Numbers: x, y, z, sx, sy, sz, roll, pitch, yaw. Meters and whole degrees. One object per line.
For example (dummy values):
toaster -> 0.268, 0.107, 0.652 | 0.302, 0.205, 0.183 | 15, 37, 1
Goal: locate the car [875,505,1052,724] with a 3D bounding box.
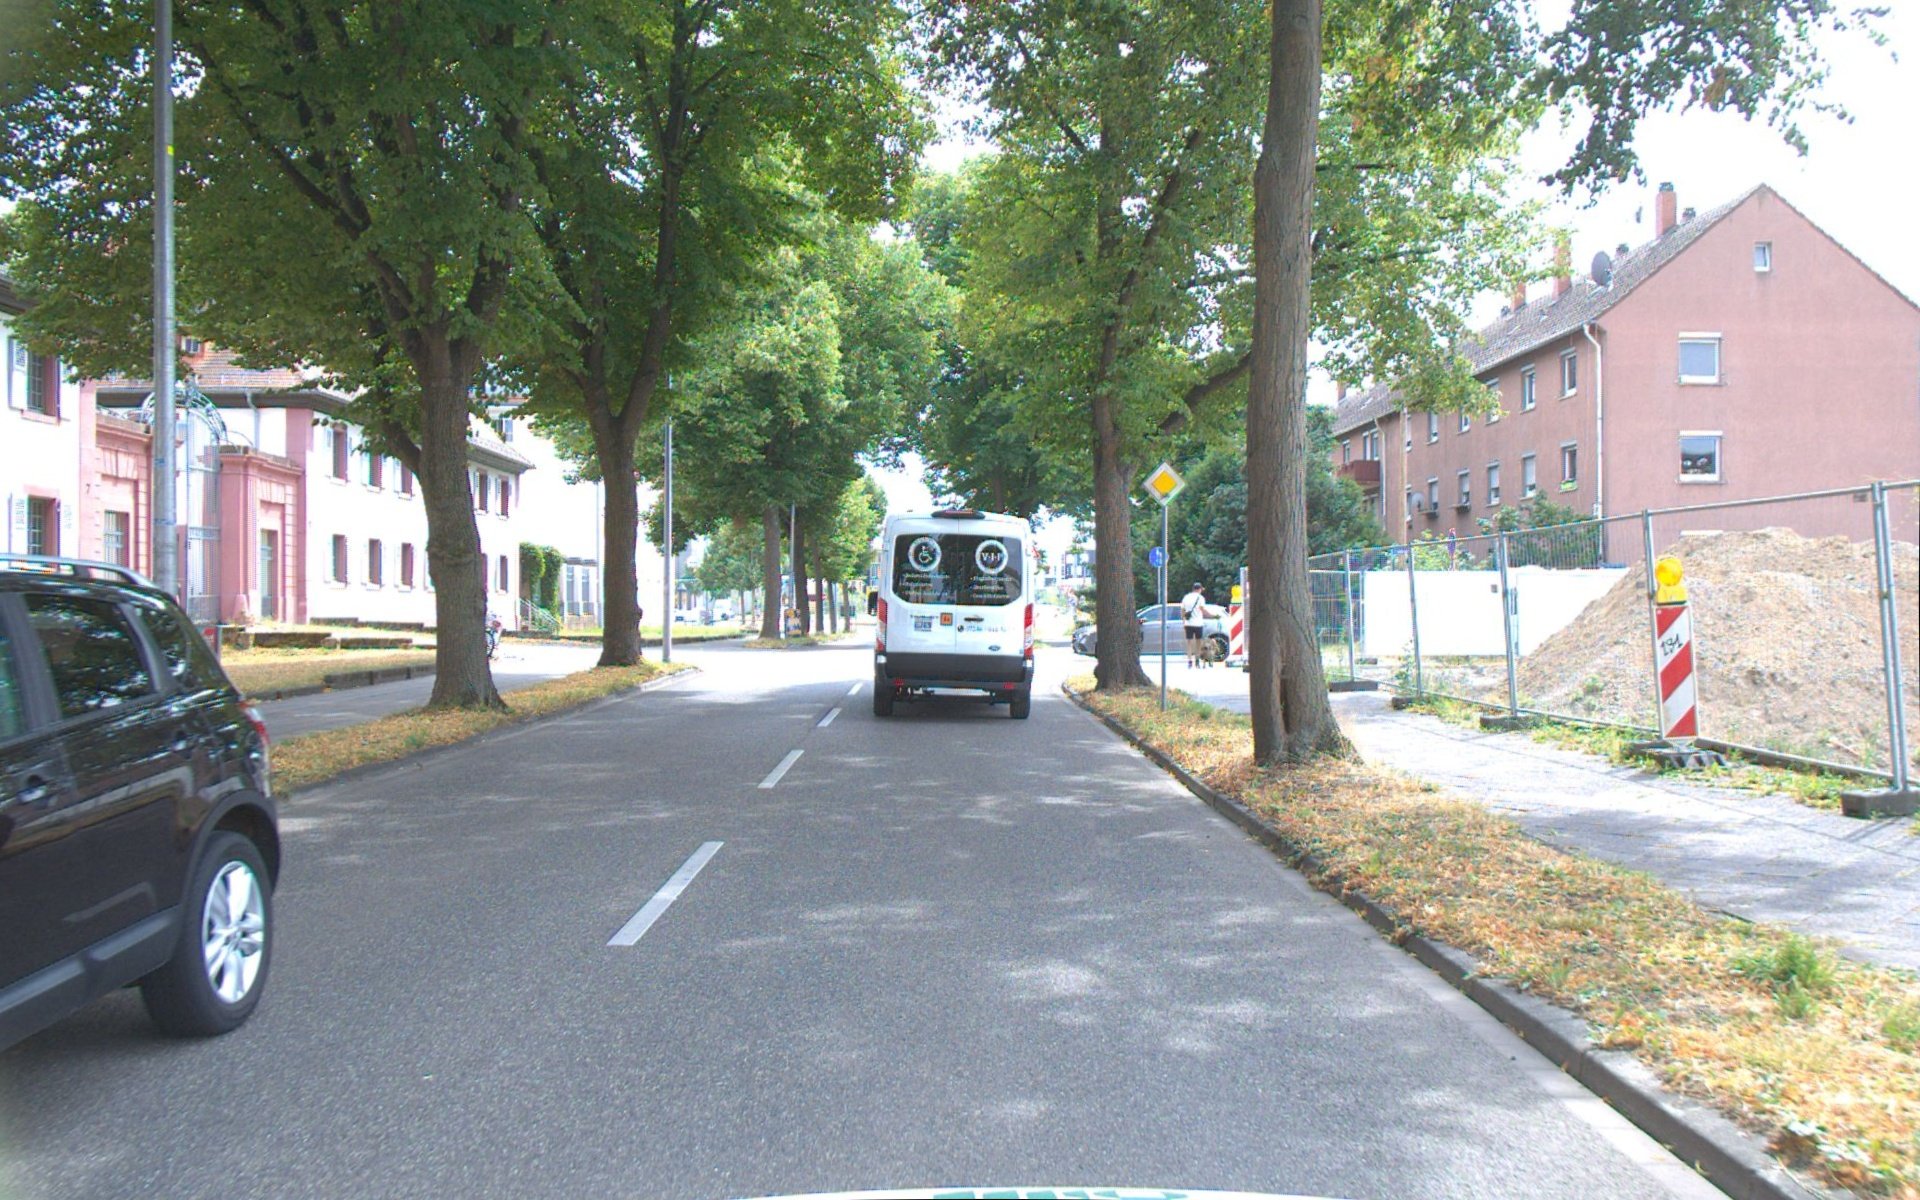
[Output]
car -> -0.063, 0.147, 21.611 | 2.022, 2.584, 3.997 | 0, 1, -4

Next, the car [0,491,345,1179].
car -> -3.242, 0.597, 4.271 | 1.736, 1.688, 4.256 | -1, 0, -1

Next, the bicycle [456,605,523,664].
bicycle -> -9.655, 0.681, 34.032 | 0.708, 1.114, 2.225 | 4, 0, -1

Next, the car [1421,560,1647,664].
car -> 15.513, 0.290, 44.947 | 5.359, 2.678, 2.336 | -1, 2, 1

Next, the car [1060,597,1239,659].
car -> 4.738, 0.737, 41.825 | 4.281, 1.468, 2.011 | -1, -2, 0

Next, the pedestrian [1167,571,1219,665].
pedestrian -> 4.731, 0.366, 33.567 | 0.864, 1.846, 0.889 | -2, -1, 18
